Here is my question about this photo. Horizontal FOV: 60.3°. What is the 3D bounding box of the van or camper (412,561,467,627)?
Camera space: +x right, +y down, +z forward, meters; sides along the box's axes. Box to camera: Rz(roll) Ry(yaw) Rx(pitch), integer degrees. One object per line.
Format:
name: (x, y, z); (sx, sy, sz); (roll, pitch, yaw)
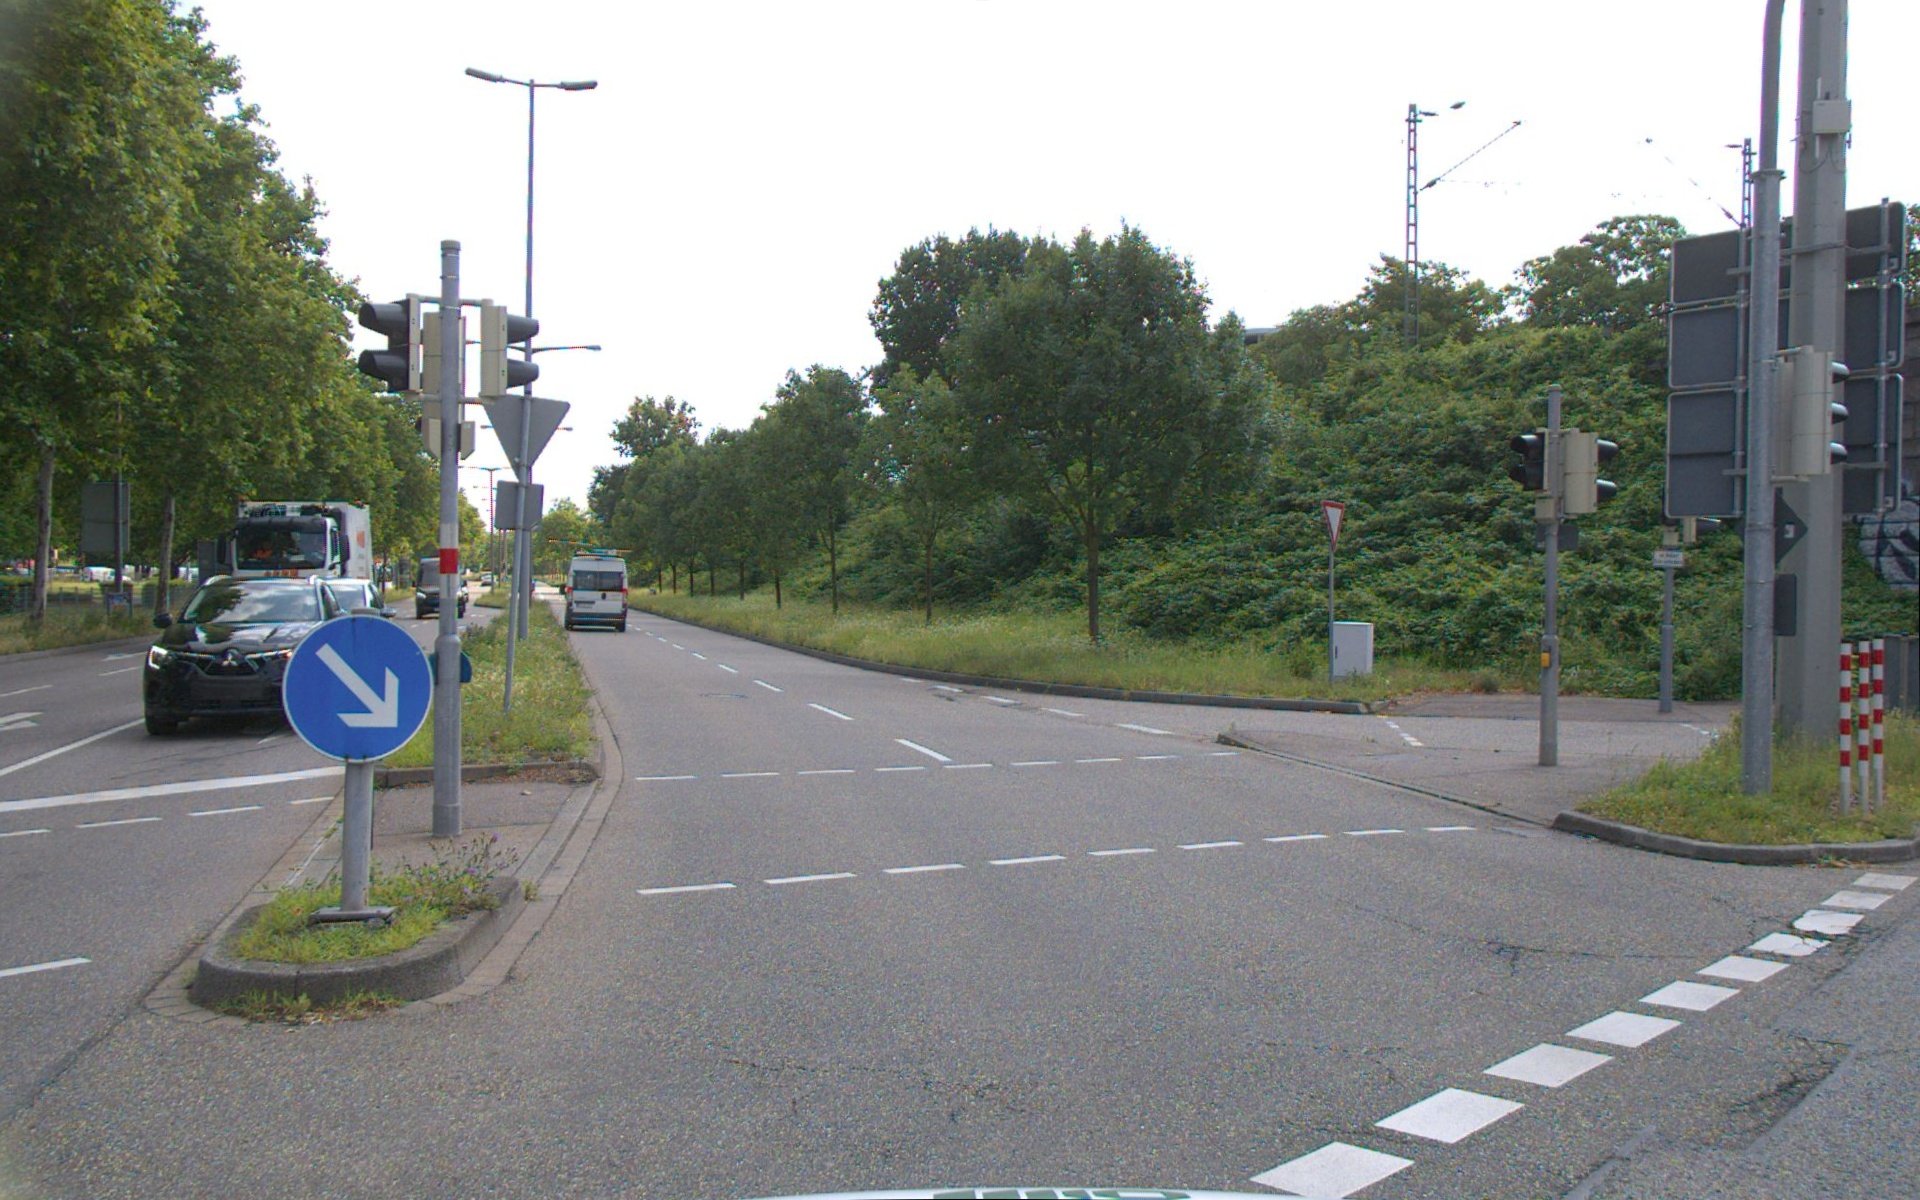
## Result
van or camper: (-23.010, -0.285, 73.305); (2.071, 2.706, 6.687); (-3, 1, -17)

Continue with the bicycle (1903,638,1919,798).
bicycle: (7.759, 0.827, 12.128); (2.300, 1.112, 0.832); (0, 1, -43)

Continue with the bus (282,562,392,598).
bus: (-67.688, -2.176, 179.611); (12.044, 3.331, 3.120); (-3, 1, 21)

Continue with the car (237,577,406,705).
car: (-9.187, 0.530, 24.090); (1.716, 1.579, 4.217); (-4, 1, -14)

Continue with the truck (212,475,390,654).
truck: (-16.654, -0.878, 42.526); (2.605, 3.955, 10.125); (-3, 1, -13)

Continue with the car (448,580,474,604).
car: (-37.920, -0.590, 125.673); (1.785, 1.668, 4.331); (-4, 2, -17)

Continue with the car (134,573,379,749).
car: (-7.440, 0.538, 17.899); (1.678, 1.615, 4.347); (-2, 1, -13)

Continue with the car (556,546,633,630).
car: (-12.785, -0.427, 57.635); (2.164, 2.774, 4.906); (0, 0, -18)
